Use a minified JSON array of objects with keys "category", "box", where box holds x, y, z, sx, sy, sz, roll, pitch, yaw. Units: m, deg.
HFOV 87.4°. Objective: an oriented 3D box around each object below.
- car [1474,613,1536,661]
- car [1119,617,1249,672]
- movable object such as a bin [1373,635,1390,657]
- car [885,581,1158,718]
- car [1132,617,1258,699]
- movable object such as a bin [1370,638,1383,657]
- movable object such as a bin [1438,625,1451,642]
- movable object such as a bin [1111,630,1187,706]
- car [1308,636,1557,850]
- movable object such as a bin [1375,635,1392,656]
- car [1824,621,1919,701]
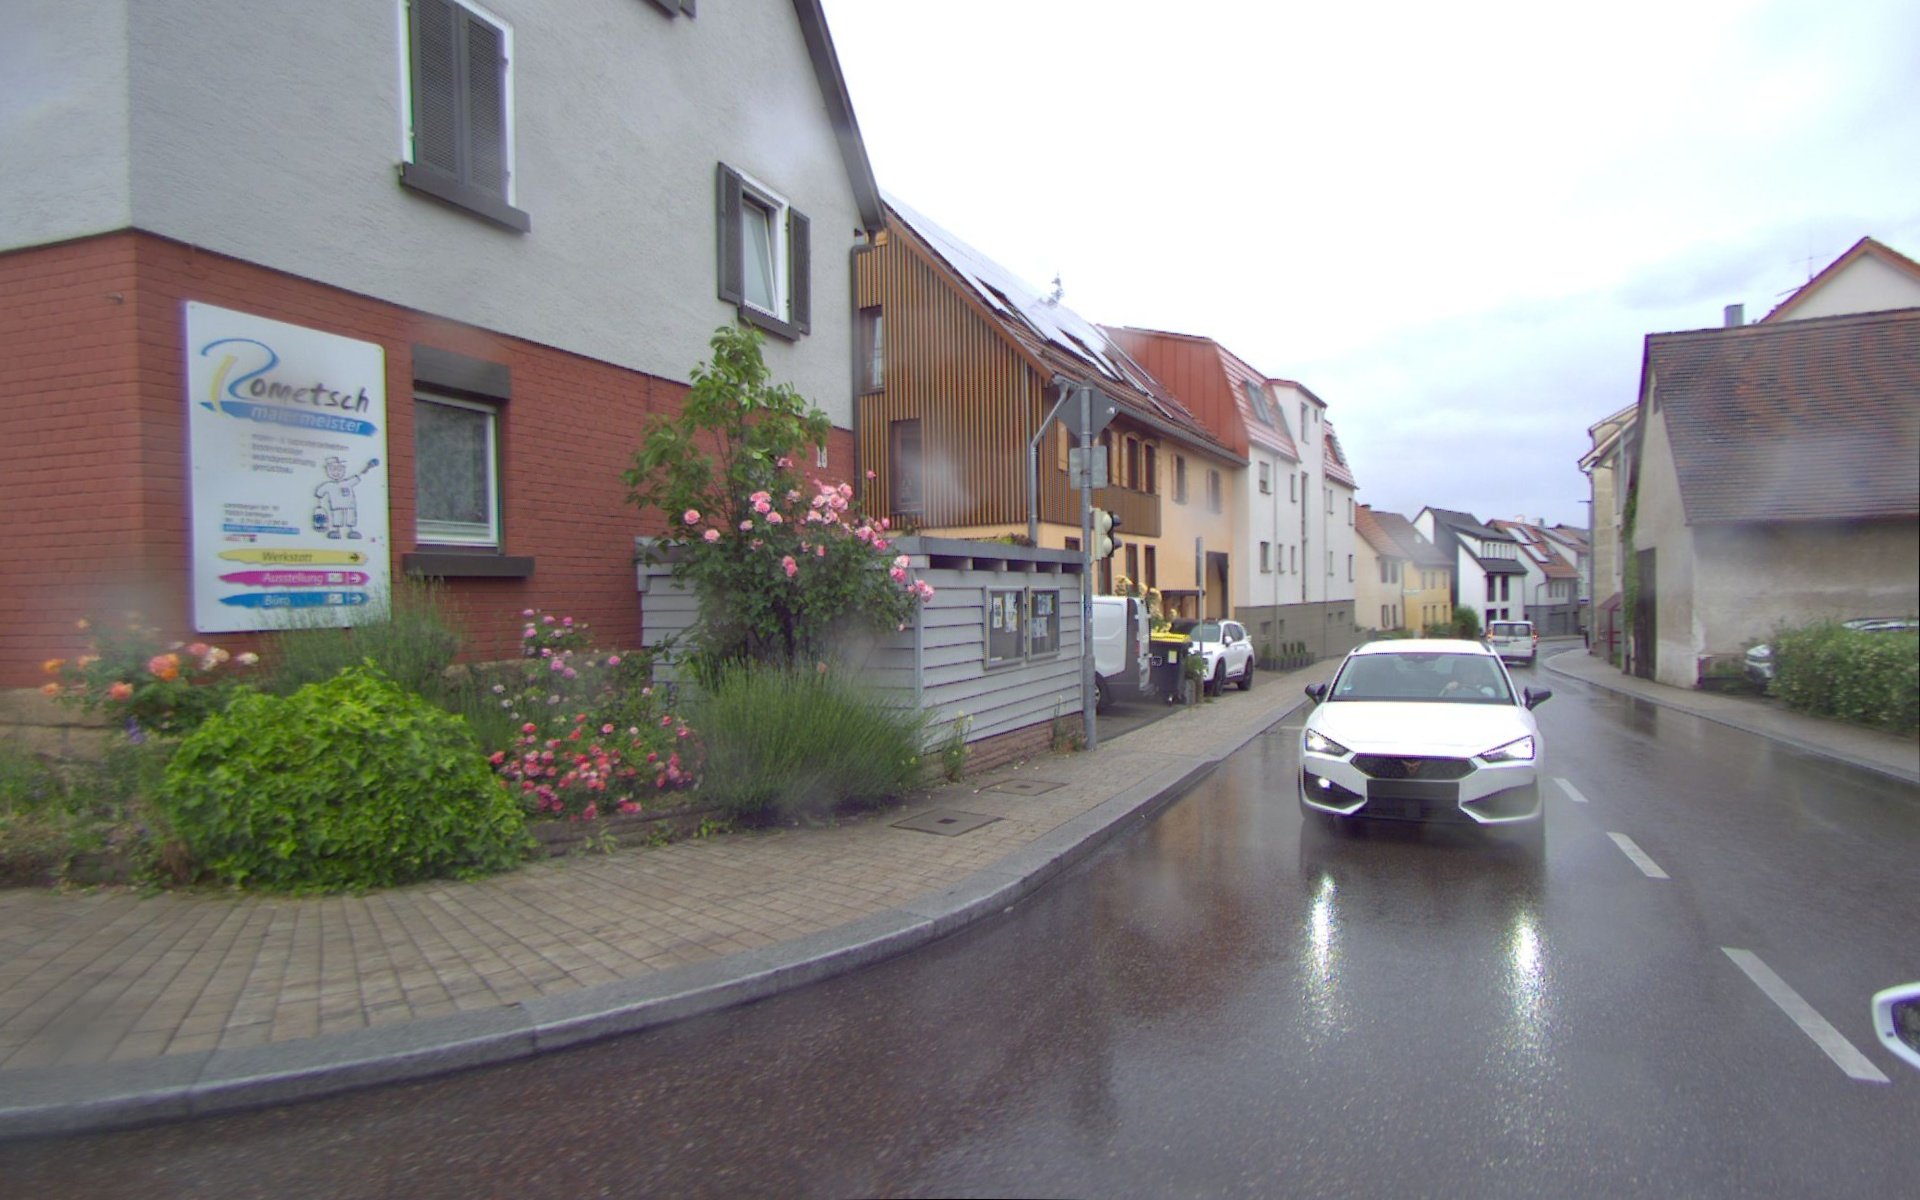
[{"category":"car","box":[22.930,1.527,42.184,2.163,1.876,4.296,-1,-2,30]},{"category":"car","box":[7.630,1.478,34.284,3.927,1.692,1.875,1,-1,29]},{"category":"movable object such as a bin","box":[21.350,2.303,50.835,0.672,1.080,0.693,1,0,33]},{"category":"car","box":[1.133,0.791,17.924,4.432,2.005,2.000,3,2,17]},{"category":"car","box":[5.676,1.277,23.812,1.786,1.728,4.610,0,-1,28]},{"category":"movable object such as a bin","box":[20.859,2.379,50.264,0.498,0.935,0.578,1,0,31]},{"category":"movable object such as a bin","box":[31.610,2.171,65.533,0.651,1.070,0.761,3,1,35]},{"category":"movable object such as a bin","box":[3.626,1.277,19.212,1.265,1.386,0.996,0,-1,22]},{"category":"car","box":[4.227,1.055,9.013,1.562,1.427,4.205,-2,-2,26]},{"category":"movable object such as a bin","box":[21.773,2.321,51.639,0.672,1.059,0.659,1,0,33]},{"category":"car","box":[21.430,1.300,21.460,4.152,1.671,1.901,0,-1,26]}]
